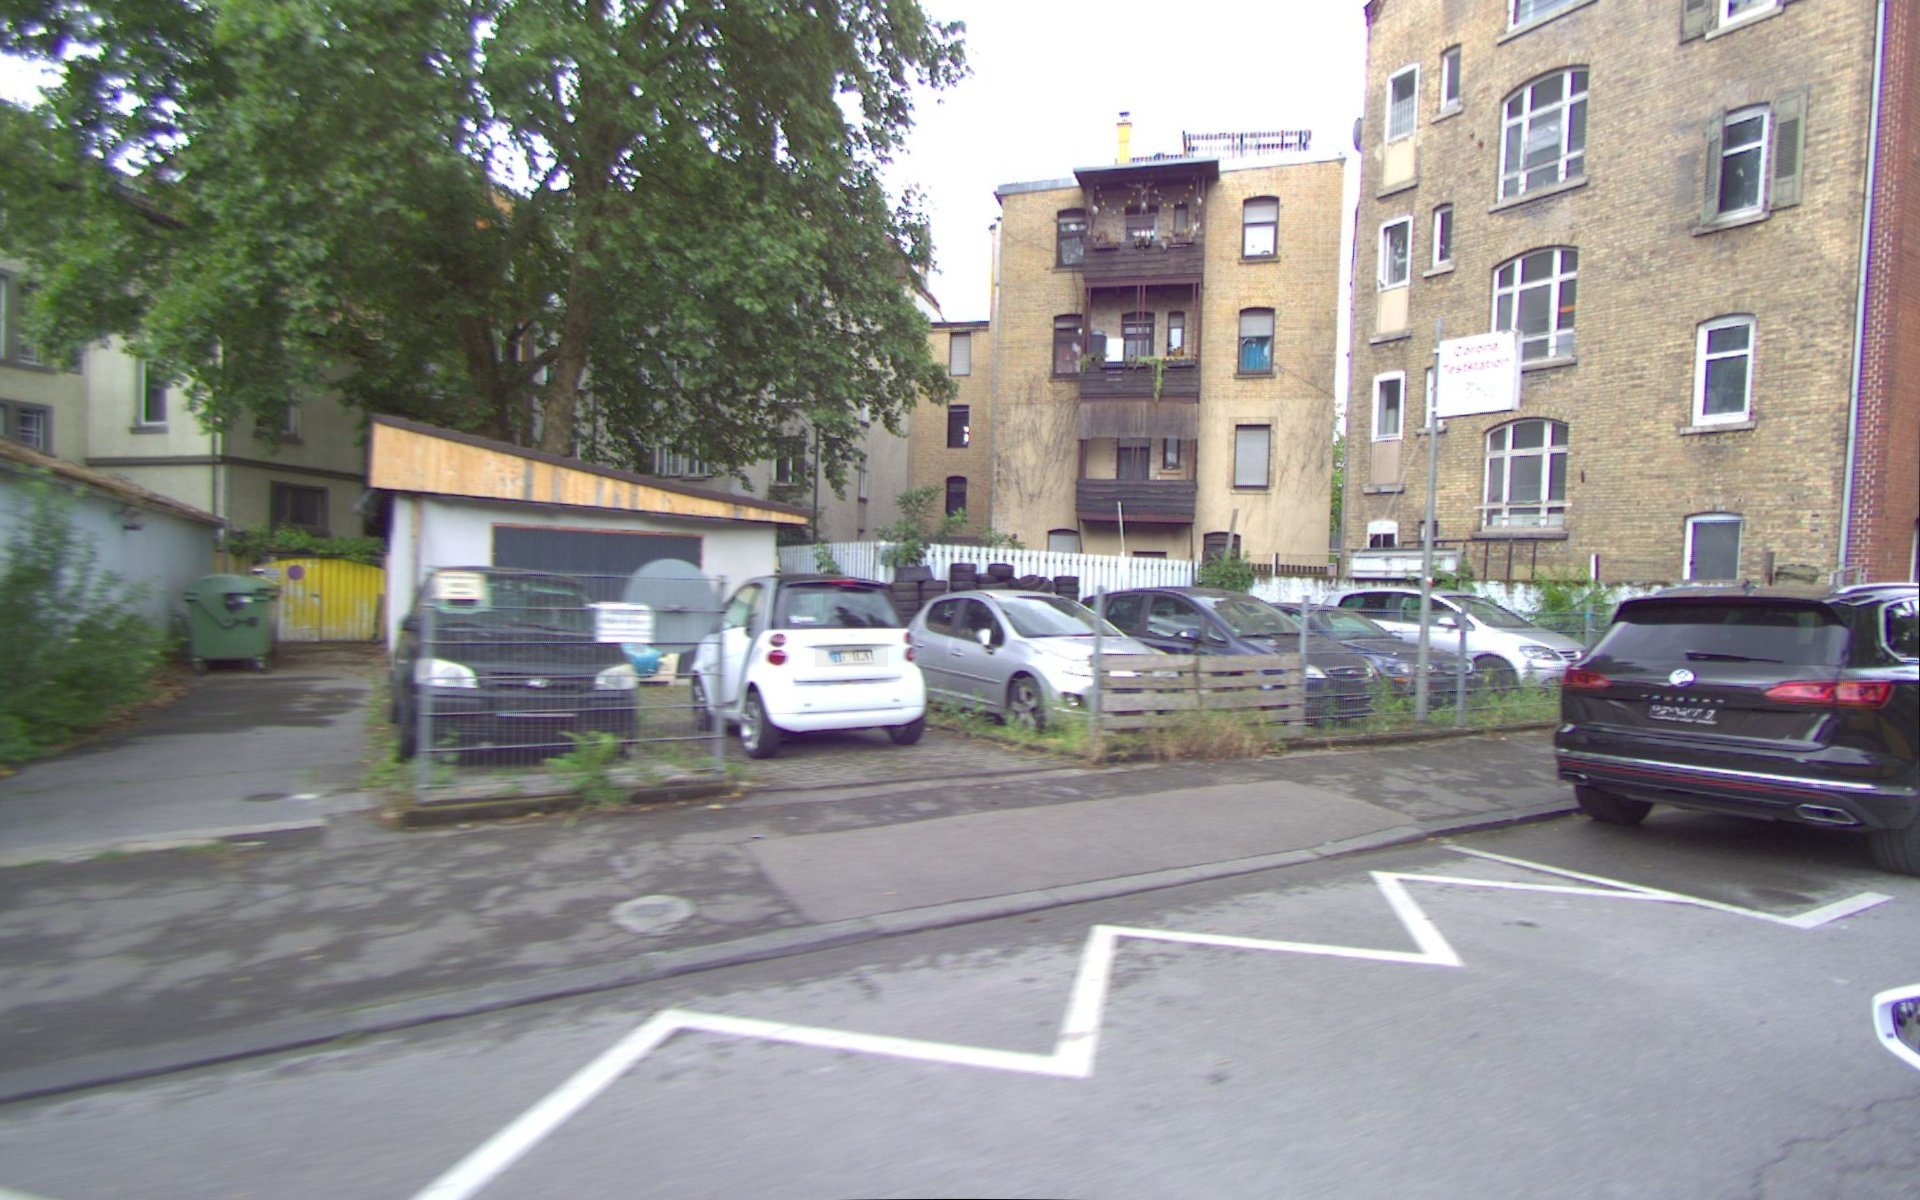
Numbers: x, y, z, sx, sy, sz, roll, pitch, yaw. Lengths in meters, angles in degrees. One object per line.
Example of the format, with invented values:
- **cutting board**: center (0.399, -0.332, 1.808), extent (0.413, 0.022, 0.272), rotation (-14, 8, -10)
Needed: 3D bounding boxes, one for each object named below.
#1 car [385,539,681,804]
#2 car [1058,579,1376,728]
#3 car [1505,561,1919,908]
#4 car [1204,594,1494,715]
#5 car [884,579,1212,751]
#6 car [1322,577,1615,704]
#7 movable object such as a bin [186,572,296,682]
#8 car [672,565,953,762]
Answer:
- **car**: center (-3.719, 0.473, 8.408), extent (1.831, 1.665, 3.746), rotation (1, -1, -29)
- **car**: center (2.970, 0.567, 12.299), extent (1.831, 1.524, 3.580), rotation (1, -1, -29)
- **car**: center (6.194, 0.670, 7.119), extent (4.718, 1.757, 1.944), rotation (0, 1, -31)
- **car**: center (5.182, 0.662, 13.813), extent (1.528, 1.433, 3.580), rotation (1, -1, -29)
- **car**: center (0.771, 0.599, 10.998), extent (1.831, 1.524, 3.706), rotation (1, -1, -29)
- **car**: center (7.374, 0.539, 14.894), extent (1.668, 1.633, 3.580), rotation (1, -1, -29)
- **movable object such as a bin**: center (-10.876, 0.364, 15.277), extent (1.159, 1.504, 1.737), rotation (0, 3, -30)
- **car**: center (-1.544, 0.532, 9.796), extent (1.831, 1.586, 2.834), rotation (1, -1, -29)
